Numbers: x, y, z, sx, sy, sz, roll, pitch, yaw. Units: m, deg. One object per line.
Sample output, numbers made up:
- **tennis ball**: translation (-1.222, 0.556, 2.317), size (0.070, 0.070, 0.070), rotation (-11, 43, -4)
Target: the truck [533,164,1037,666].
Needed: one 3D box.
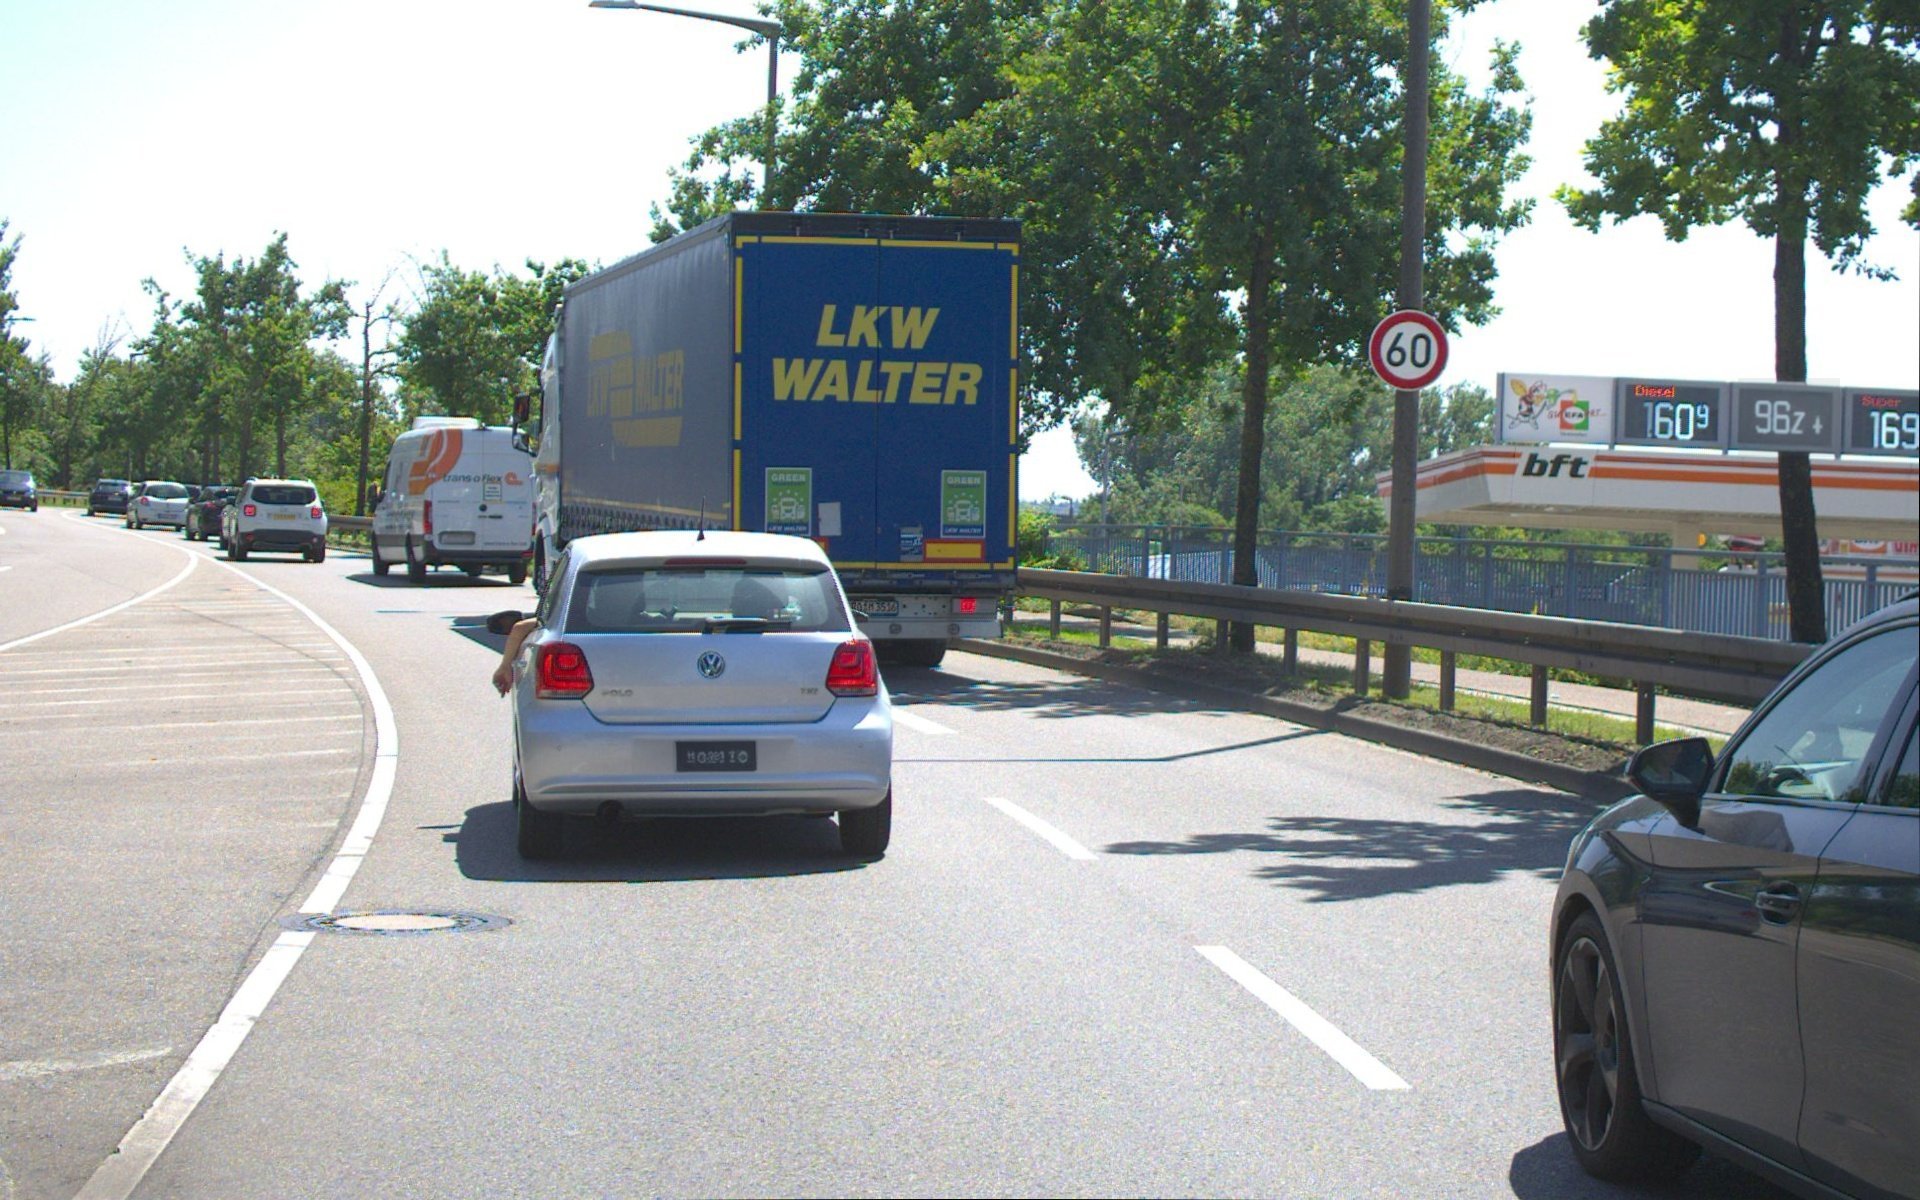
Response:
- **truck**: translation (-2.466, -1.678, 37.267), size (2.832, 4.184, 16.479), rotation (1, 1, -12)

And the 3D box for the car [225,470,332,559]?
- **car**: translation (-14.085, -1.731, 70.890), size (1.903, 1.712, 4.225), rotation (1, 0, -14)

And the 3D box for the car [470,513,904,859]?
- **car**: translation (-1.391, 0.366, 16.269), size (1.645, 1.434, 3.538), rotation (1, 0, -11)

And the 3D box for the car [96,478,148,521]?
- **car**: translation (-30.866, -3.703, 126.660), size (1.664, 1.460, 3.582), rotation (1, 0, -11)

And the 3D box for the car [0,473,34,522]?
- **car**: translation (-34.880, -3.759, 125.915), size (1.678, 1.665, 3.756), rotation (0, 3, -13)

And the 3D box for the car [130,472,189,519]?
- **car**: translation (-24.134, -3.136, 103.585), size (1.607, 1.355, 3.664), rotation (1, 1, -15)

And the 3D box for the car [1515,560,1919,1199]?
- **car**: translation (2.371, 0.672, 6.396), size (1.604, 1.451, 4.236), rotation (1, 0, -5)

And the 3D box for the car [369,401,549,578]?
- **car**: translation (-8.847, -1.941, 60.204), size (2.175, 2.890, 6.360), rotation (1, 2, -17)

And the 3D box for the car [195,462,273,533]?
- **car**: translation (-19.104, -2.673, 90.372), size (1.721, 1.720, 4.001), rotation (1, 0, -15)
